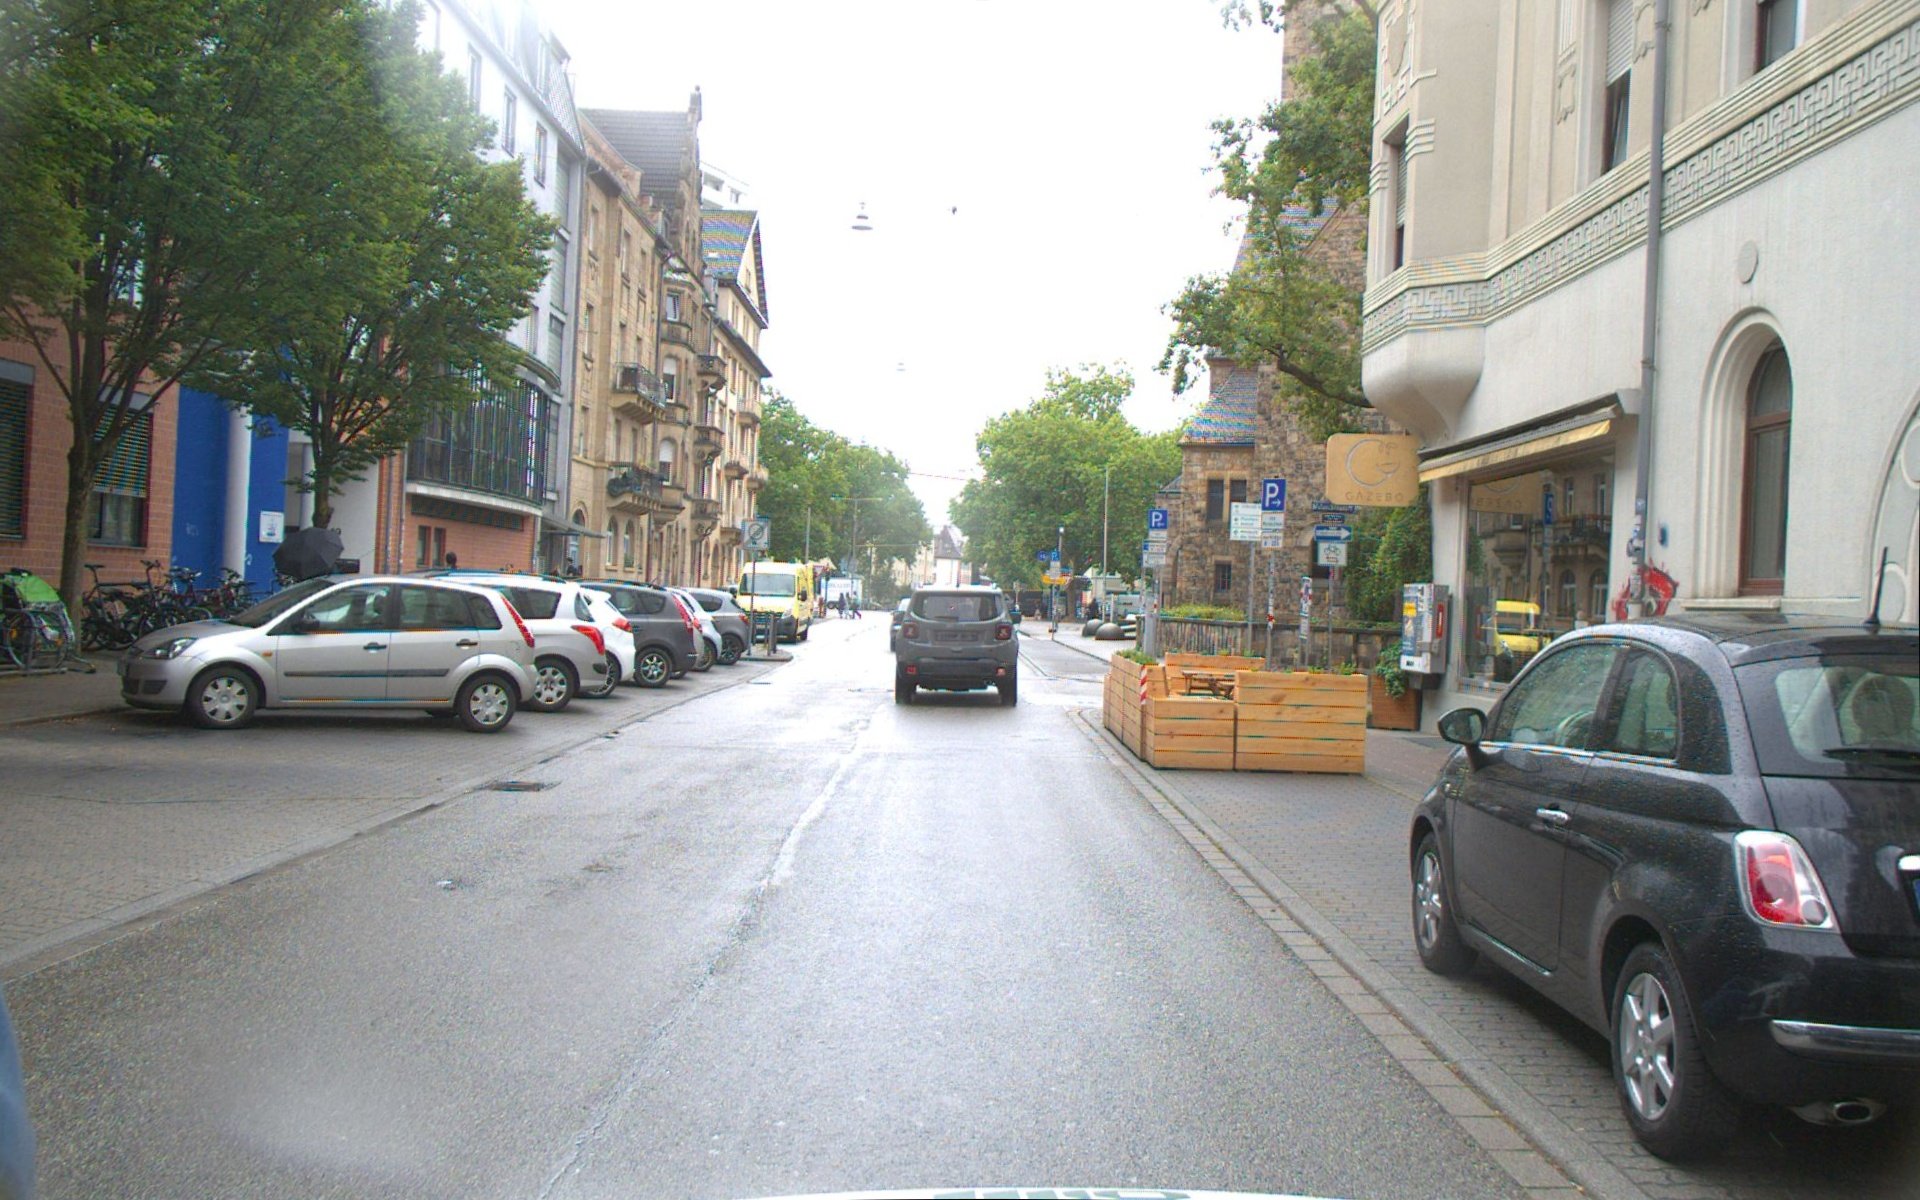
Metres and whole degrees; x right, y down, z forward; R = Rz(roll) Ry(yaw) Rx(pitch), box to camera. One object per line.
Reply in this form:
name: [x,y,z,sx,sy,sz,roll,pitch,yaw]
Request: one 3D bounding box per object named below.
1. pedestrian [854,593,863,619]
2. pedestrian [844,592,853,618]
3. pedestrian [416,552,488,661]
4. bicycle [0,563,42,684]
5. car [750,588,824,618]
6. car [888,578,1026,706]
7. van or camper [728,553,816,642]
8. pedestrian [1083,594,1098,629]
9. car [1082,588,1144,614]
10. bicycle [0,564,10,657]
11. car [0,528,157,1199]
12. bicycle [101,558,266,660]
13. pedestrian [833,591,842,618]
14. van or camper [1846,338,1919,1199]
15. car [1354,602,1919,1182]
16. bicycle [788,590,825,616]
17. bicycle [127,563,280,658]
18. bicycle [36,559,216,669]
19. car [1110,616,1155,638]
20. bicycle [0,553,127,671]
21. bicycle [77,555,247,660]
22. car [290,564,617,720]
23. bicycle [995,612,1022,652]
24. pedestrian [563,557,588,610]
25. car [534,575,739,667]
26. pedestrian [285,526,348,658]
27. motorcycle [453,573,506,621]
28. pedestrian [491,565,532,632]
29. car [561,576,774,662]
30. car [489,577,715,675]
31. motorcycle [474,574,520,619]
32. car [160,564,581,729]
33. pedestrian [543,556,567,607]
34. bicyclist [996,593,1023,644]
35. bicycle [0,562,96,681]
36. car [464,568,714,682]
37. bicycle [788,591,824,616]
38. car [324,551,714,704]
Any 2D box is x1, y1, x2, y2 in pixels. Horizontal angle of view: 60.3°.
pedestrian: [-6.356,0.354,103.592,0.458,1.613,0.752,2,0,-1]
pedestrian: [-6.933,0.303,102.921,0.458,1.613,0.752,2,0,-1]
pedestrian: [-8.673,0.106,28.253,0.808,1.782,0.757,4,0,6]
bicycle: [-10.432,0.139,16.709,1.859,1.172,0.553,7,0,-3]
car: [-9.147,0.170,87.476,3.382,1.339,1.759,4,-1,-34]
car: [-0.093,0.579,25.035,1.860,1.700,4.504,2,0,-1]
van or camper: [-5.962,0.012,53.289,2.078,2.575,6.873,-1,-2,-1]
pedestrian: [6.652,0.568,84.247,0.676,1.741,0.684,1,0,0]
car: [14.725,0.079,159.284,5.780,2.375,2.060,2,0,3]
bicycle: [-10.484,0.122,16.235,1.859,1.172,0.553,7,0,-3]
car: [-2.201,0.613,0.863,1.636,1.491,4.002,2,0,-1]
bicycle: [-10.620,0.120,22.648,1.859,1.172,0.553,7,0,-3]
pedestrian: [-7.595,0.272,102.617,0.458,1.613,0.659,2,0,-1]
van or camper: [2.720,0.519,0.655,1.980,1.924,5.054,1,0,-1]
car: [2.739,0.742,5.993,1.675,1.425,3.704,1,0,-1]
bicycle: [-8.982,0.179,96.896,2.079,1.469,0.536,1,0,-21]
bicycle: [-11.070,0.153,24.244,1.859,1.172,0.553,7,0,-3]
bicycle: [-10.550,0.176,20.946,1.859,1.172,0.553,7,0,-3]
car: [13.102,2.022,125.402,3.120,1.527,1.543,1,0,17]
bicycle: [-10.554,0.102,18.697,1.859,1.172,0.553,7,0,-3]
bicycle: [-10.568,0.099,21.937,1.859,1.172,0.553,7,0,-3]
car: [-5.915,0.470,19.395,3.344,1.683,1.615,1,0,-34]
bicycle: [1.384,0.900,46.987,0.690,1.072,1.812,1,0,0]
pedestrian: [-13.057,-0.565,56.131,0.652,1.788,0.791,1,0,-24]
car: [-6.025,0.400,30.843,3.341,1.533,1.663,3,0,-31]
pedestrian: [-8.710,-0.103,22.395,0.599,1.737,0.433,2,-2,0]
motorcycle: [-13.023,-0.082,44.880,0.738,1.194,2.116,5,0,0]
pedestrian: [-11.097,-0.043,40.931,0.694,1.578,0.608,4,0,6]
car: [-5.934,0.397,33.627,3.779,1.533,1.968,3,0,-31]
car: [-6.078,0.456,28.154,3.345,1.483,1.661,3,0,-34]
motorcycle: [-13.147,-0.115,47.031,0.738,1.194,2.114,5,0,-4]
car: [-5.877,0.438,16.624,3.672,1.477,1.664,1,0,-36]
pedestrian: [-13.677,-0.614,55.837,0.652,1.704,0.791,1,0,-24]
bicyclist: [1.396,0.514,46.988,0.690,1.428,1.171,1,0,0]
bicycle: [-10.581,0.177,18.071,1.859,1.172,0.553,7,0,-3]
car: [-5.667,0.388,25.297,3.342,1.569,1.663,3,0,-32]
bicycle: [-9.125,0.206,97.887,2.062,1.469,0.488,1,0,-21]
car: [-5.871,0.395,22.128,4.470,1.566,2.311,7,-3,-33]
